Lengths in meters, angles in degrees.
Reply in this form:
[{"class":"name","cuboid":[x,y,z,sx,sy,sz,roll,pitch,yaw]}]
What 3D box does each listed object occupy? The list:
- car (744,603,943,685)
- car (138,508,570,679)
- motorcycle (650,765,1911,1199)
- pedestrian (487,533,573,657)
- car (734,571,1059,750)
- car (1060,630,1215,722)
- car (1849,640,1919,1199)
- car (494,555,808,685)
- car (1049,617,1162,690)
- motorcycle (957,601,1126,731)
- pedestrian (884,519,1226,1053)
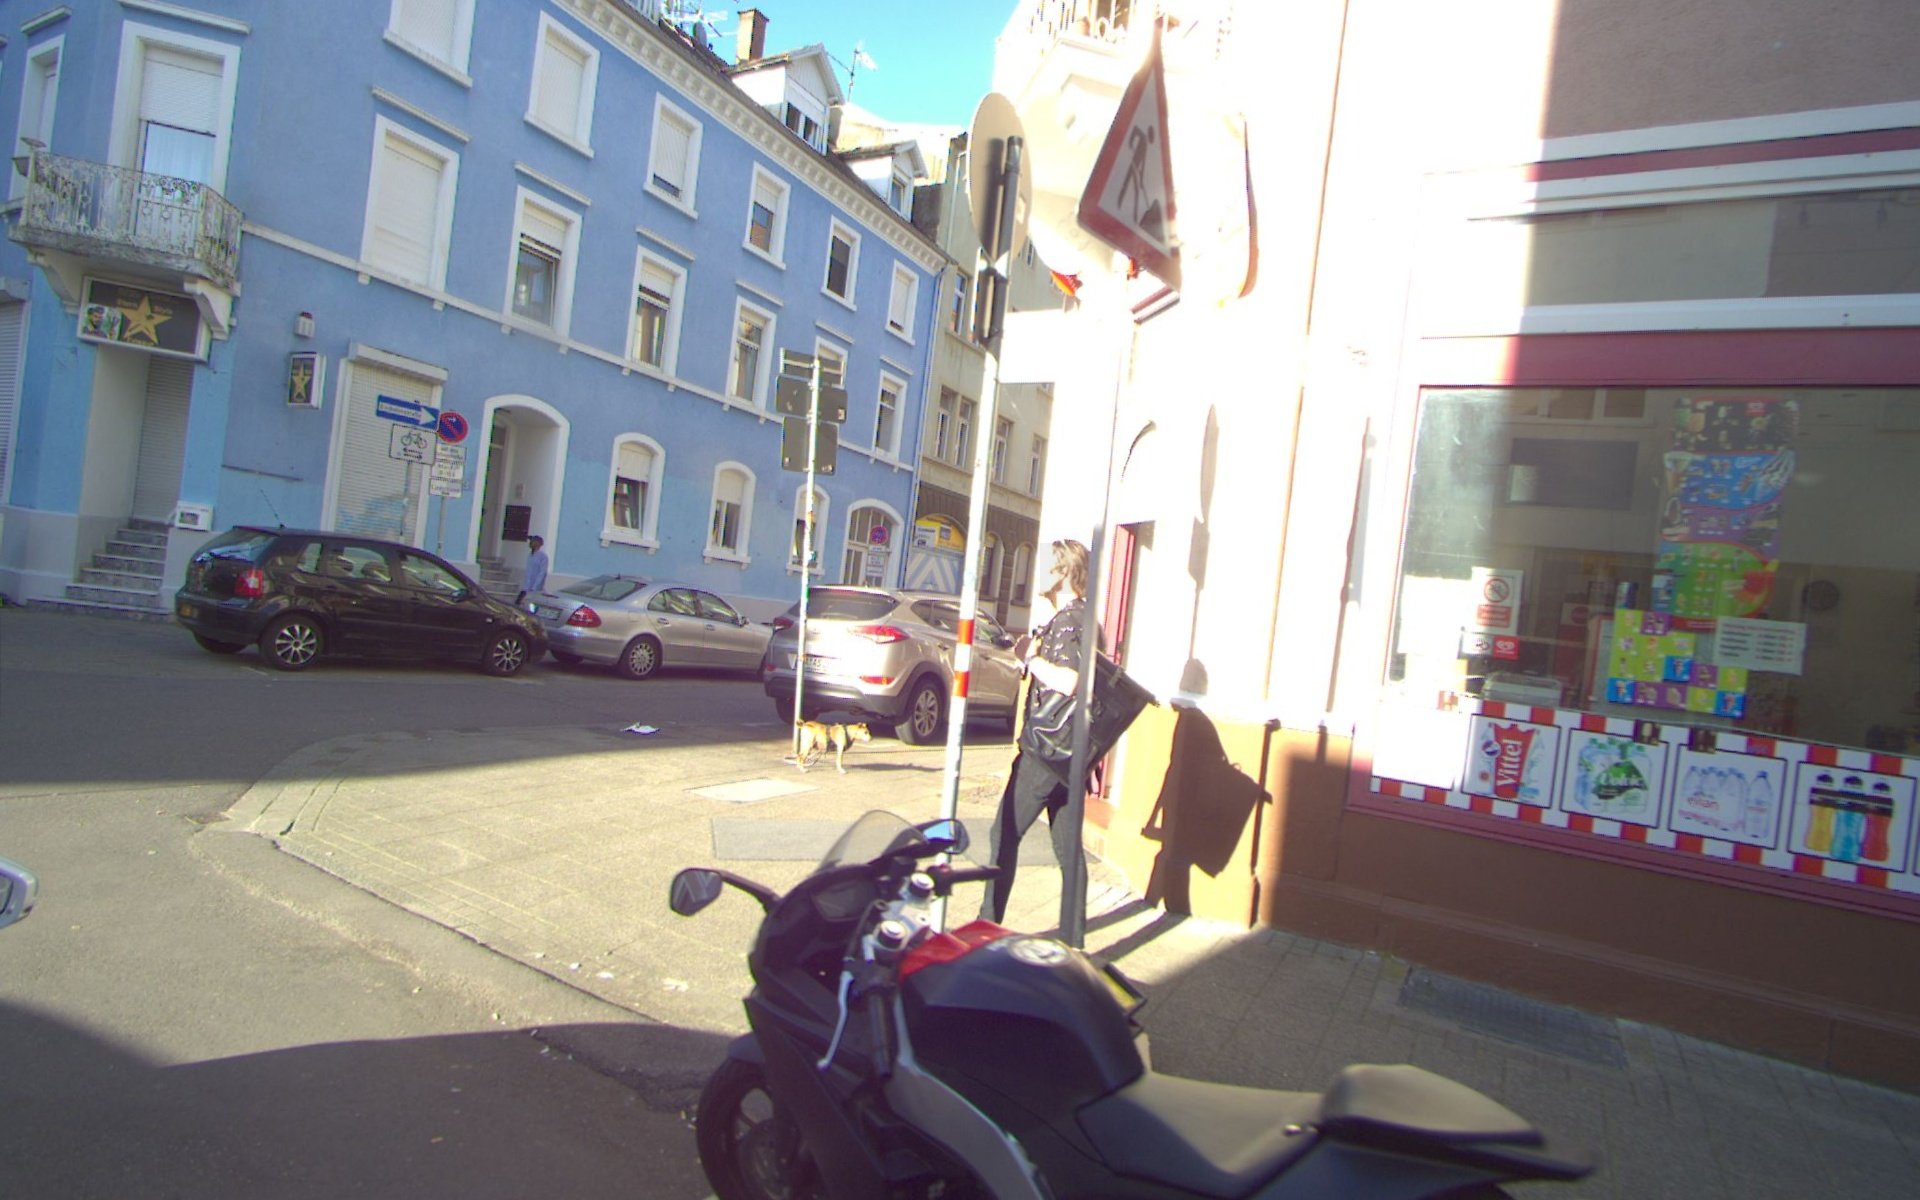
[{"class":"car","cuboid":[-2.186,0.934,20.037,1.727,1.242,4.160,6,-2,30]},{"class":"car","cuboid":[-6.750,0.030,11.653,1.648,1.471,3.876,7,-1,30]},{"class":"motorcycle","cuboid":[0.308,1.060,1.848,1.968,1.101,0.717,6,3,41]},{"class":"pedestrian","cuboid":[-6.957,-0.068,16.281,0.767,1.871,0.771,7,-1,29]},{"class":"car","cuboid":[-0.541,0.751,11.980,1.825,1.651,4.067,4,-3,30]},{"class":"car","cuboid":[3.592,1.516,19.800,1.722,1.530,3.911,3,-3,30]},{"class":"car","cuboid":[3.340,1.005,0.269,4.295,1.840,1.750,6,1,29]},{"class":"car","cuboid":[-4.544,0.404,15.524,1.727,1.451,4.478,9,0,31]},{"class":"car","cuboid":[4.811,1.797,32.760,1.805,1.969,4.546,8,-1,31]},{"class":"motorcycle","cuboid":[1.252,1.012,15.305,2.308,1.668,0.846,8,-1,-26]},{"class":"pedestrian","cuboid":[0.399,0.648,4.084,0.973,1.817,0.826,7,3,29]}]
